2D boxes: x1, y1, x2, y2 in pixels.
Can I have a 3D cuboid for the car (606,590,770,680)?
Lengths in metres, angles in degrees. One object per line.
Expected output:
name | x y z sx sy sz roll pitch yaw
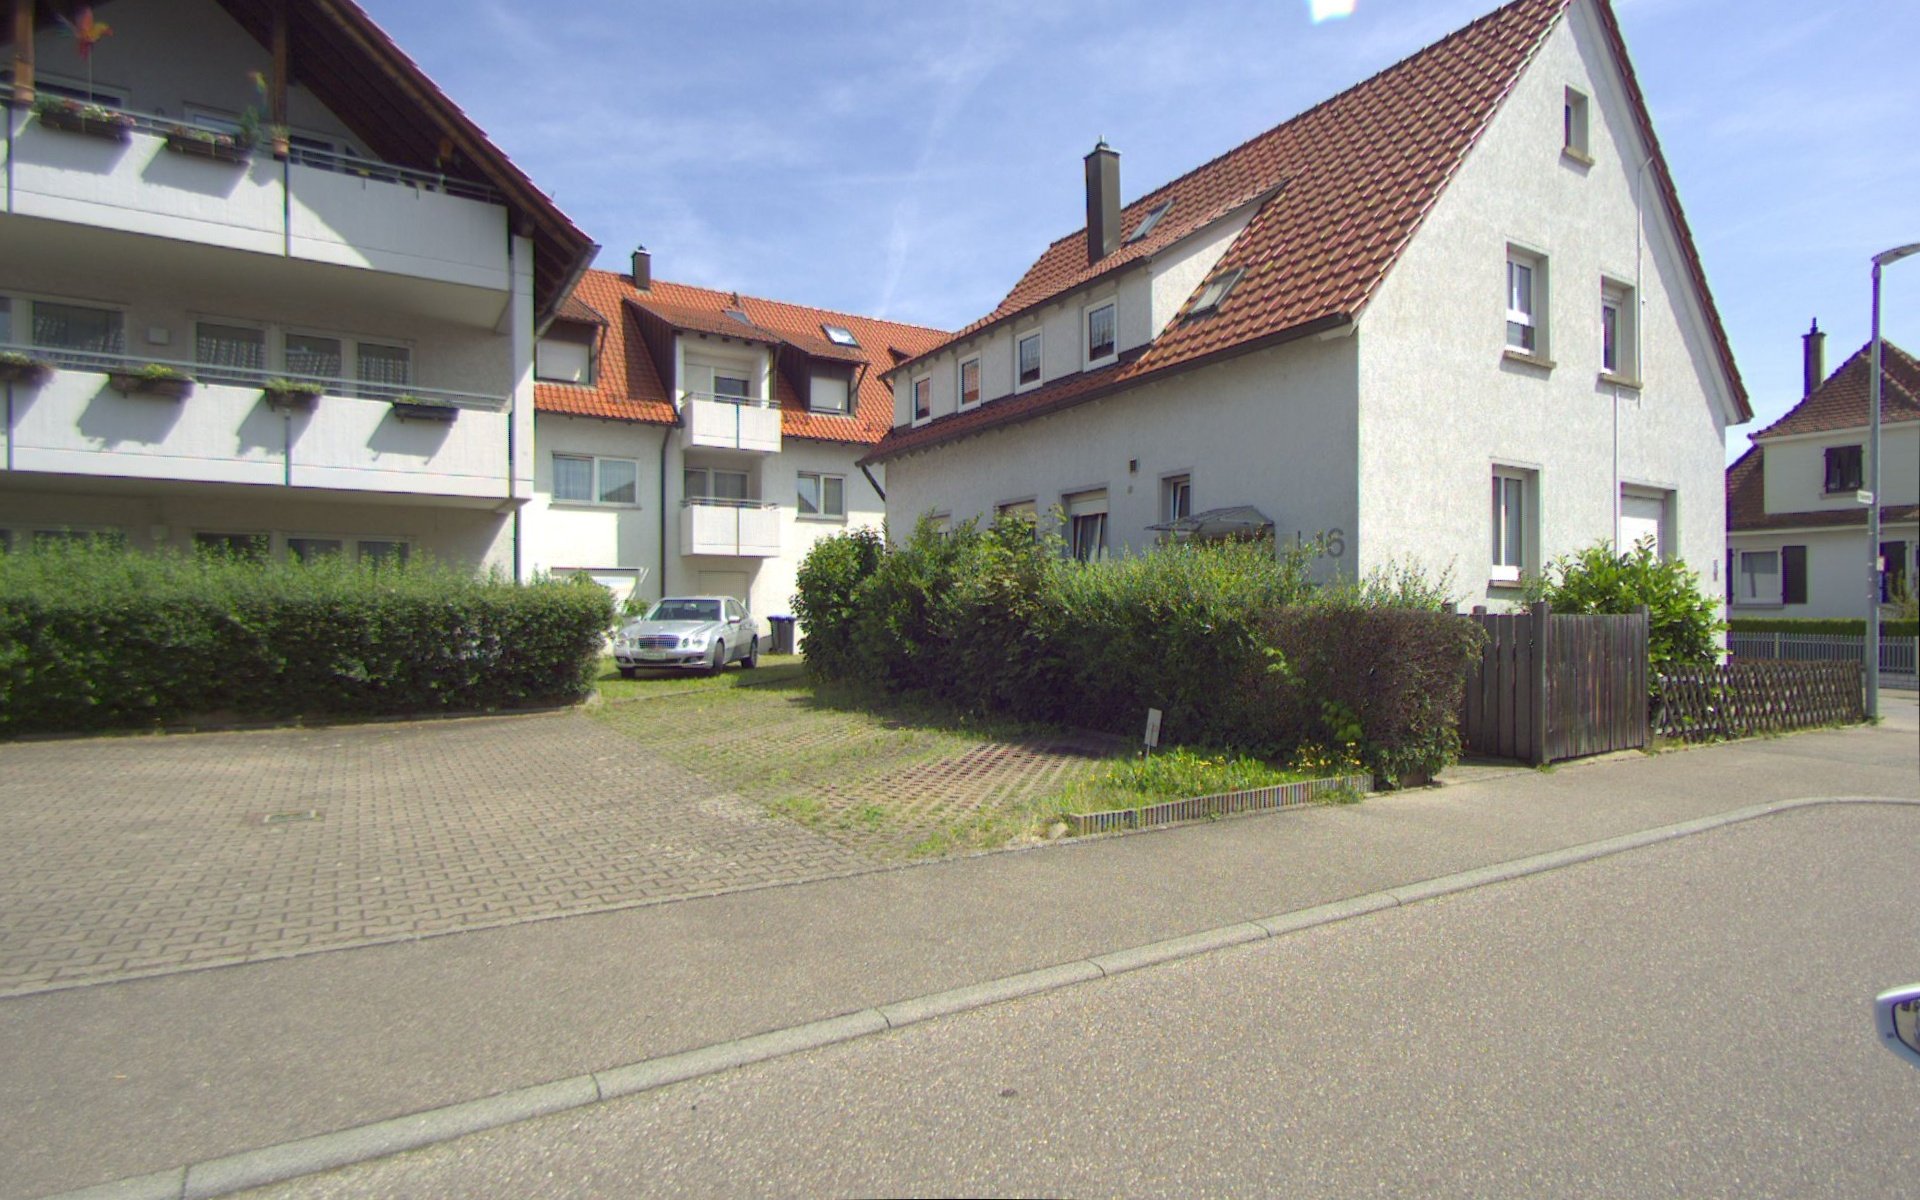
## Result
car | -4.963 0.615 18.958 1.838 1.491 4.276 -1 -1 1

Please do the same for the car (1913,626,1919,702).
car | 20.391 1.243 17.968 4.499 1.457 1.758 1 -1 23
